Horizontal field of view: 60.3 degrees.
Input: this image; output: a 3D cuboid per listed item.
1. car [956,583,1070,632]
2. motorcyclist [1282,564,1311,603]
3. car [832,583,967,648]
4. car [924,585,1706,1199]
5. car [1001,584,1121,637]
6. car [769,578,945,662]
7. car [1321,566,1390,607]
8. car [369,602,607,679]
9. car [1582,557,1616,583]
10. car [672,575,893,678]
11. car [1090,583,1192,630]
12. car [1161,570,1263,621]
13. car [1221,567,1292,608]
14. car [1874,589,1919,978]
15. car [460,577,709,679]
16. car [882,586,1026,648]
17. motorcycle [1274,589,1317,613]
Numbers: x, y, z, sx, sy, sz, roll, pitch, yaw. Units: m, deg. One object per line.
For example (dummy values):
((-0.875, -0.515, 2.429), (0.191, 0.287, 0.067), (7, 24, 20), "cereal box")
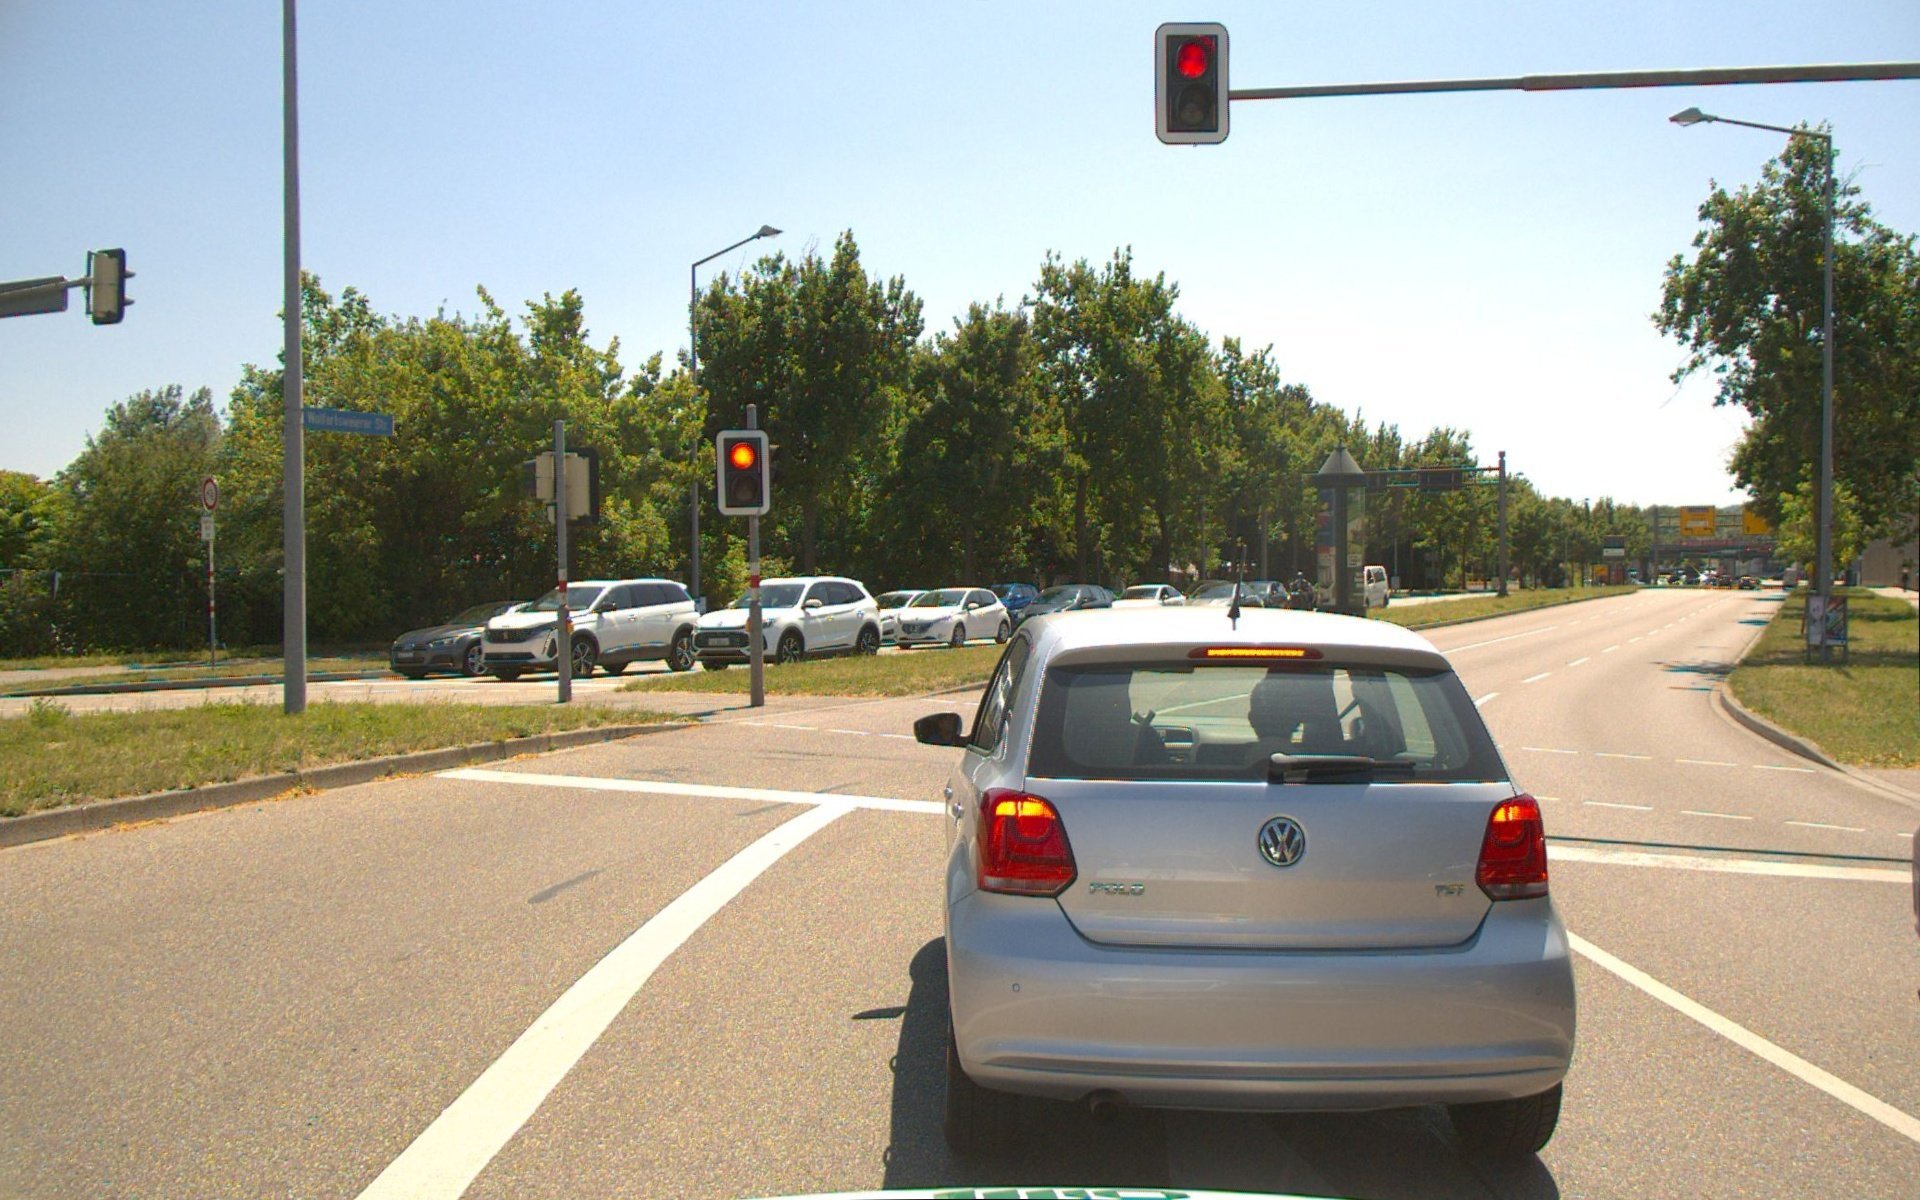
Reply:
((1.710, 0.195, 51.876), (1.823, 1.447, 4.402), (0, 1, 28), "car")
((14.142, -0.692, 69.543), (0.889, 1.614, 1.008), (-2, -1, 30), "motorcyclist")
((-1.617, 0.380, 46.126), (1.823, 1.712, 4.402), (0, 1, 28), "car")
((0.844, 0.691, 5.700), (1.739, 1.447, 4.001), (0, 1, 1), "car")
((2.974, 0.276, 47.813), (1.823, 1.447, 4.402), (0, 1, 28), "car")
((-2.177, 0.388, 36.289), (1.823, 1.712, 4.402), (0, 1, 28), "car")
((15.786, -0.553, 65.923), (1.826, 1.582, 3.996), (0, 1, 26), "car")
((-8.863, 0.710, 31.426), (1.823, 1.292, 4.402), (0, 1, 28), "car")
((45.994, -2.128, 119.002), (1.766, 1.722, 4.136), (-2, -1, 28), "car")
((-3.103, 0.416, 29.849), (1.823, 1.712, 4.402), (0, 1, 28), "car")
((5.925, 0.172, 53.664), (1.823, 1.447, 4.402), (0, 1, 28), "car")
((7.815, -0.157, 51.007), (1.932, 1.514, 3.995), (0, 1, 27), "car")
((11.591, -0.461, 64.449), (1.682, 1.500, 3.793), (-2, -1, 27), "car")
((4.480, 0.709, 4.223), (1.952, 1.443, 4.457), (0, 1, 2), "car")
((-6.455, 0.420, 28.930), (1.823, 1.646, 4.402), (0, 1, 28), "car")
((-0.090, 0.387, 41.992), (1.823, 1.447, 4.402), (0, 1, 28), "car")
((14.088, 0.032, 69.405), (0.878, 0.969, 2.810), (-2, -1, 30), "motorcycle")
